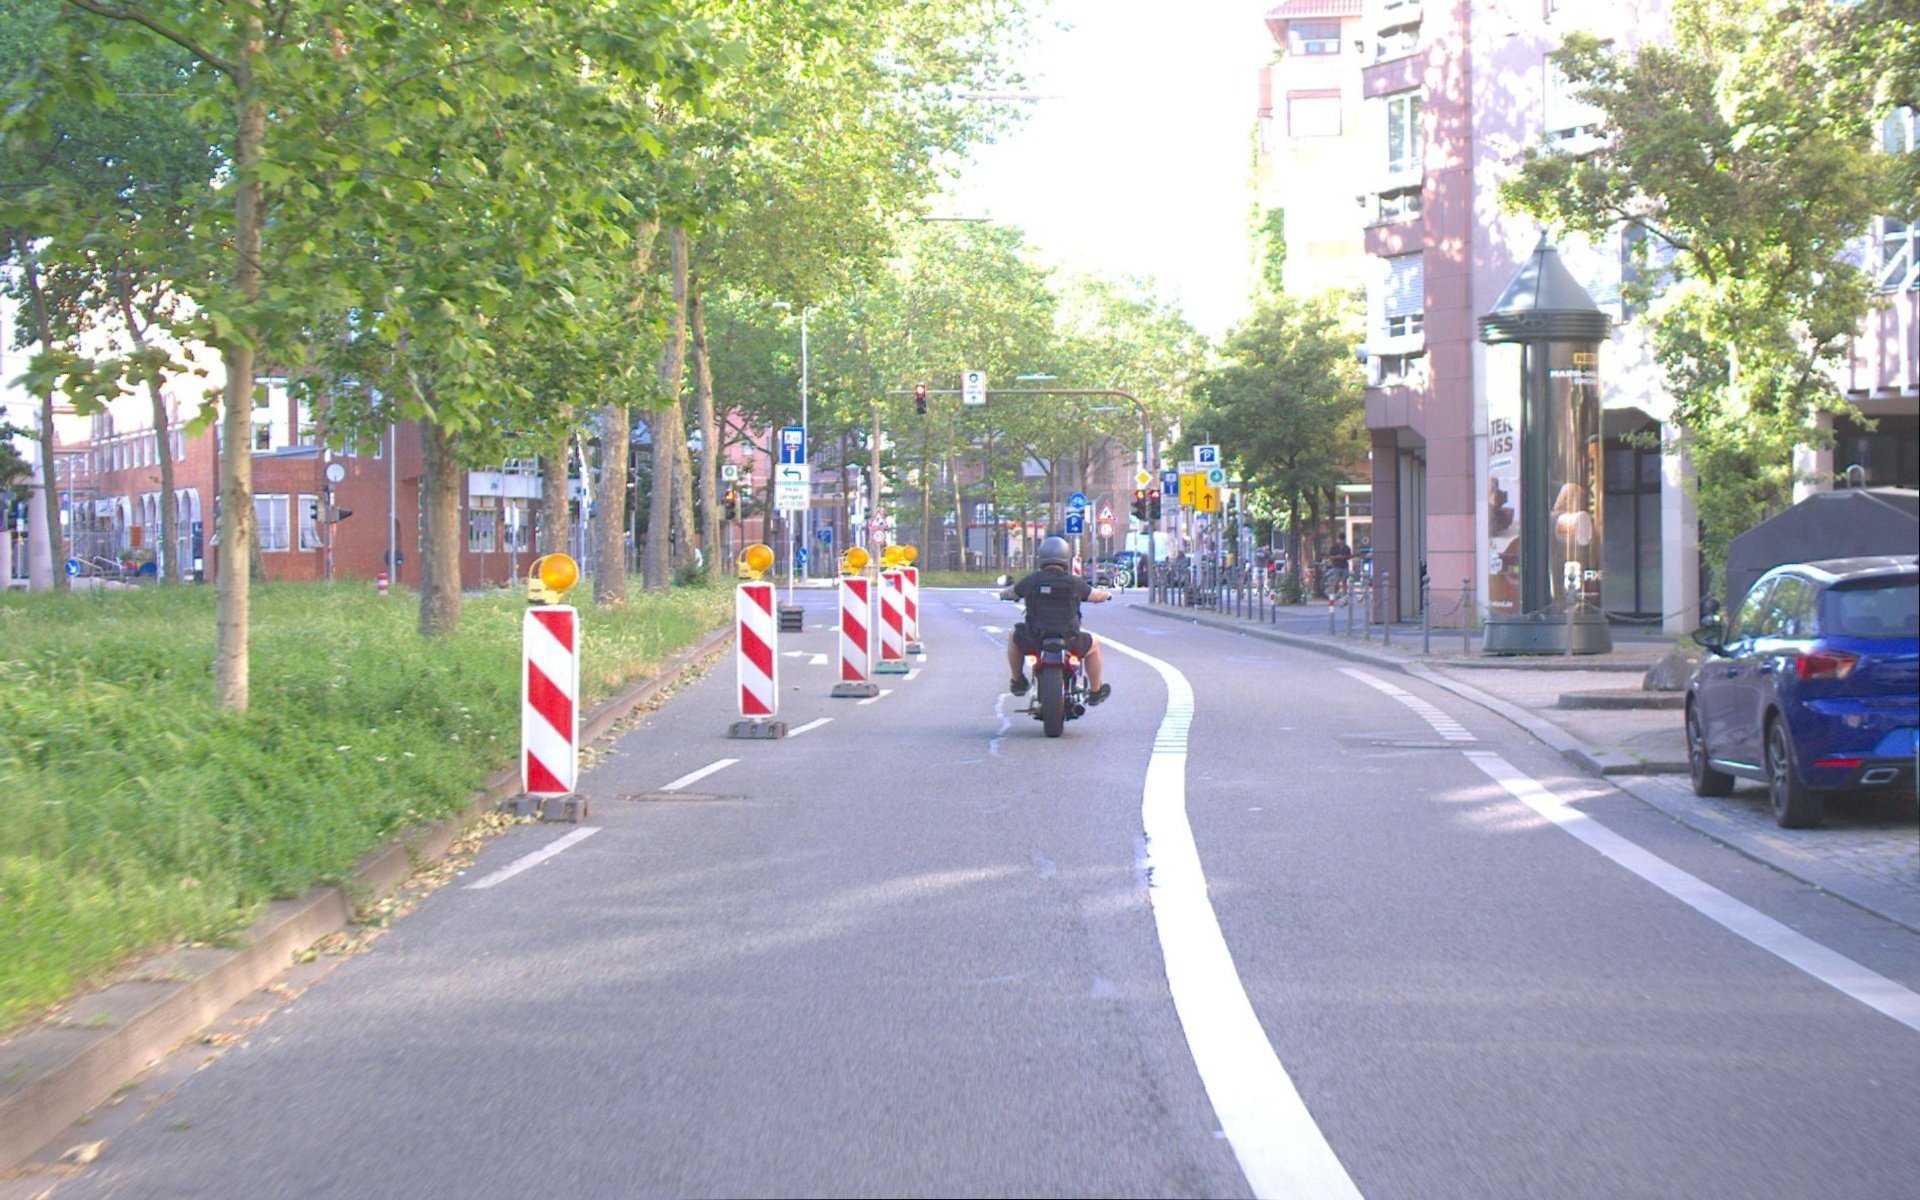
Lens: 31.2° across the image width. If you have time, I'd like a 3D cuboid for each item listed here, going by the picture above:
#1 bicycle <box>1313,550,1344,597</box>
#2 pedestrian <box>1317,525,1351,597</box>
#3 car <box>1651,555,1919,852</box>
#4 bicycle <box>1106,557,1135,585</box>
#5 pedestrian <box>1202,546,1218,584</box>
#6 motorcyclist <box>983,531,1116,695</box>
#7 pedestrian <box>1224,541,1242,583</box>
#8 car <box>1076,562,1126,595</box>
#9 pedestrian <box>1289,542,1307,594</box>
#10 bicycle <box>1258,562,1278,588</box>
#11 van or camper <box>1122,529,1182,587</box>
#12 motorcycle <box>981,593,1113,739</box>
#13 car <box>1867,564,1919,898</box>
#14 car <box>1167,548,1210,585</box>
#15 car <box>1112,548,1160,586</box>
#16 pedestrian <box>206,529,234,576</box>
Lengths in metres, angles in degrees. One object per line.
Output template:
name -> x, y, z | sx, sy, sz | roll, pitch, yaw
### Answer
bicycle -> 9.709, -0.701, 90.486 | 0.622, 1.221, 1.926 | 0, 1, 12
pedestrian -> 9.050, -0.950, 83.168 | 0.781, 1.732, 0.836 | 0, 1, 8
car -> 5.204, 0.507, 19.830 | 1.702, 1.478, 4.248 | -1, 1, 2
bicycle -> 6.085, -1.094, 130.703 | 0.737, 1.049, 1.753 | 0, 1, -10
pedestrian -> 10.275, -1.453, 141.498 | 0.644, 1.573, 0.748 | 0, 1, 3
motorcyclist -> 0.729, 0.096, 27.724 | 1.012, 1.258, 0.774 | 2, 1, 2
pedestrian -> 11.235, -1.578, 141.423 | 0.700, 1.727, 0.767 | 0, 1, 3
car -> 5.674, -0.861, 138.028 | 1.621, 1.298, 4.310 | 0, 1, 8
pedestrian -> 10.929, -1.037, 111.190 | 0.459, 1.667, 0.680 | 0, 1, -5
bicycle -> 11.638, -0.949, 129.964 | 0.737, 0.936, 1.752 | 0, 1, 4
van or camper -> 8.641, -1.891, 154.266 | 2.049, 2.532, 5.771 | 0, 1, 9
motorcycle -> 0.705, 0.508, 27.572 | 1.018, 1.093, 2.007 | 0, 1, 2
car -> 5.014, 0.588, 14.030 | 1.702, 1.460, 4.175 | -1, 1, 3
car -> 11.403, -1.672, 171.734 | 1.621, 1.859, 3.772 | 0, 1, 12
car -> 7.579, -1.416, 147.701 | 1.621, 1.614, 4.483 | 0, 1, 9
pedestrian -> -29.227, -1.873, 135.832 | 0.855, 1.863, 0.752 | 0, 1, 7
